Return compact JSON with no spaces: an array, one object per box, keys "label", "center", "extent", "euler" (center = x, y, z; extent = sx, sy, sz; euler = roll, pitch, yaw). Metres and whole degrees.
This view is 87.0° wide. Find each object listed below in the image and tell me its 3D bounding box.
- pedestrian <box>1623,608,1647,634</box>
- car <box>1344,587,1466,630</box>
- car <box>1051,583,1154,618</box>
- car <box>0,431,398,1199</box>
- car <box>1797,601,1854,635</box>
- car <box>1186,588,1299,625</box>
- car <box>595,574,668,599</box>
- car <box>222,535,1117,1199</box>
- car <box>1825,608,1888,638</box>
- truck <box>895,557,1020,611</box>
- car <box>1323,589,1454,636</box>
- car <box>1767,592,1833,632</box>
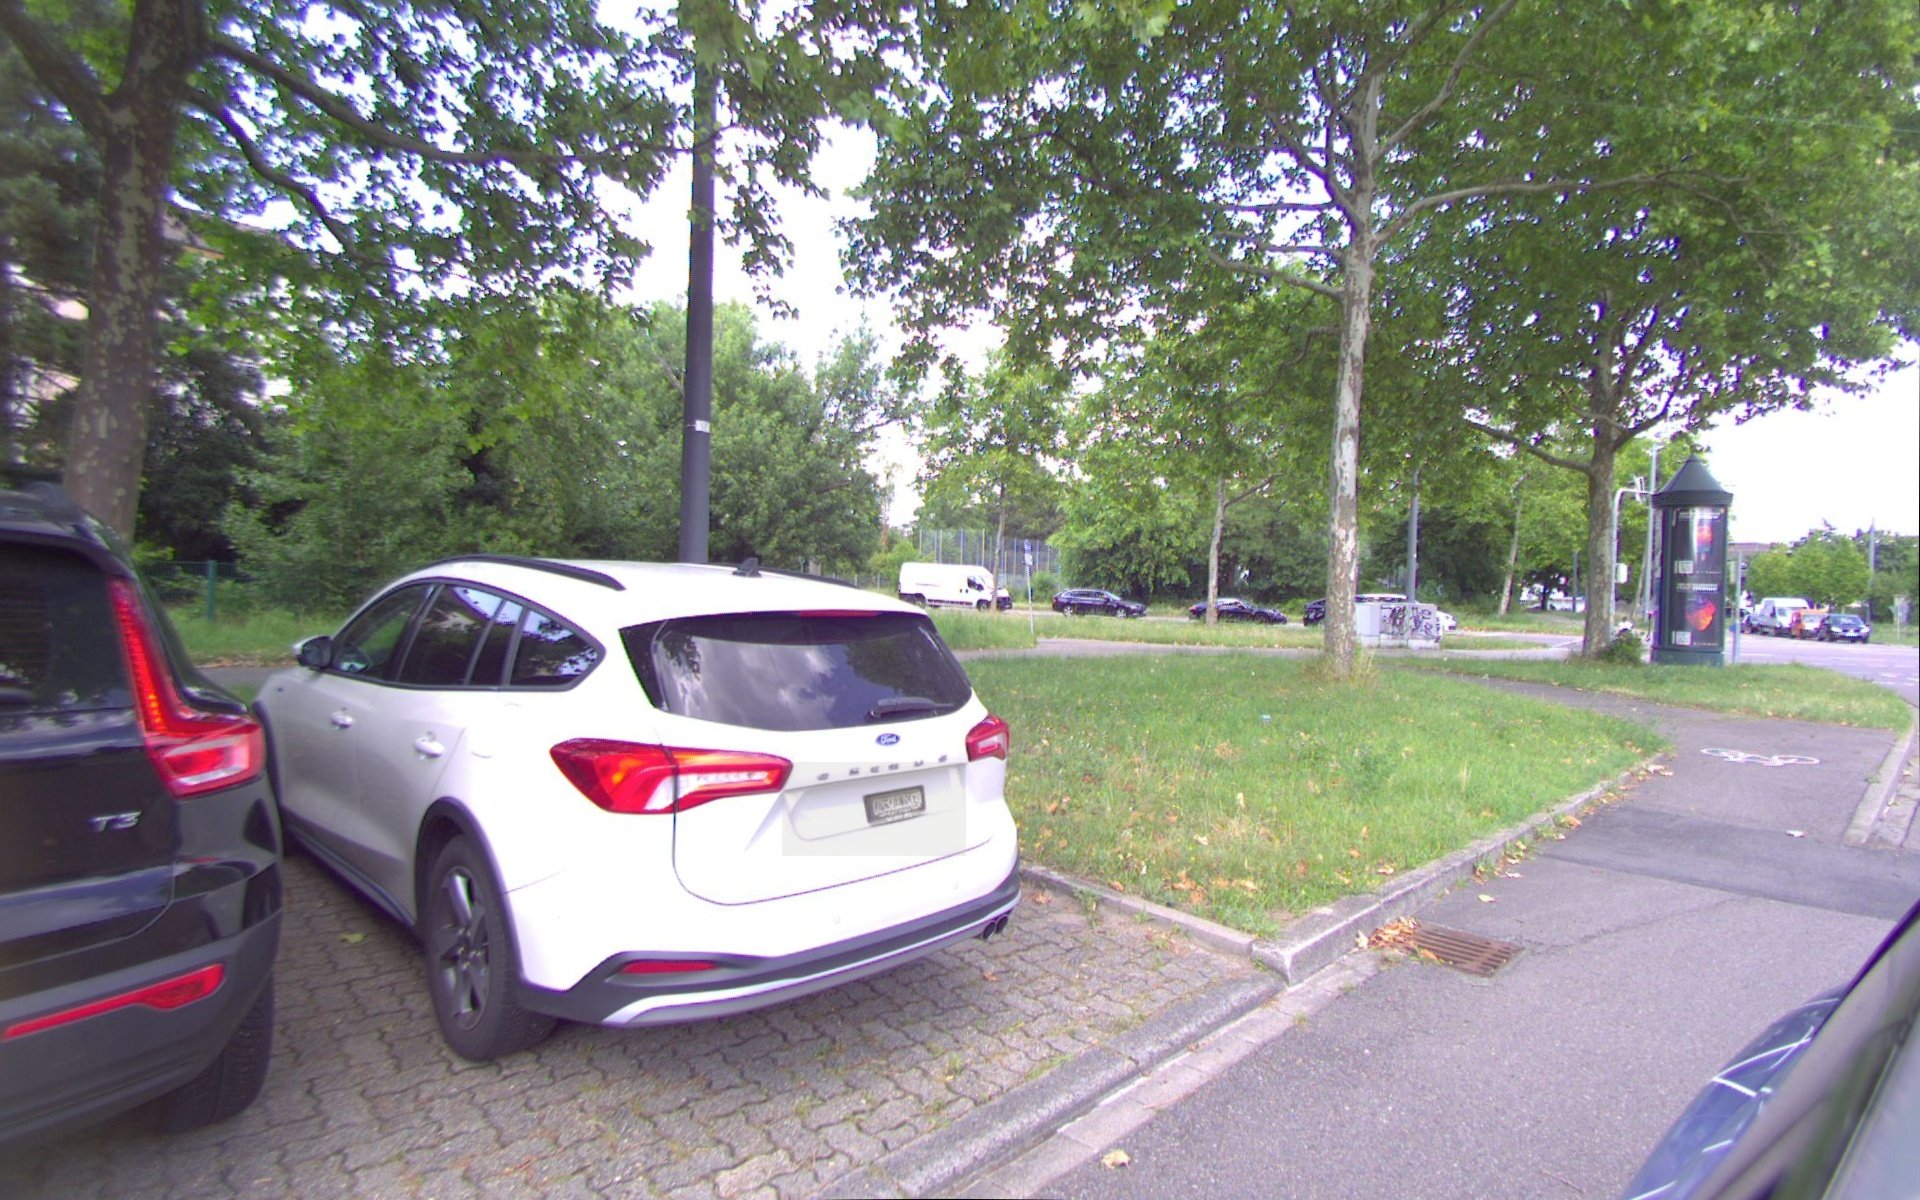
[{"label":"pedestrian","center":[29.320,0.905,43.971],"extent":[0.716,1.047,0.893],"euler":[2,1,28]},{"label":"car","center":[19.141,0.310,43.538],"extent":[4.644,1.630,1.981],"euler":[2,2,28]},{"label":"car","center":[7.032,-0.023,50.014],"extent":[4.644,1.532,1.981],"euler":[2,2,28]},{"label":"car","center":[-3.461,0.426,3.080],"extent":[4.661,1.646,1.818],"euler":[4,2,45]},{"label":"car","center":[53.060,1.079,62.121],"extent":[1.780,1.959,4.325],"euler":[1,1,28]},{"label":"car","center":[12.971,0.253,46.547],"extent":[4.706,1.487,1.981],"euler":[2,2,28]},{"label":"car","center":[-21.943,-0.921,67.643],"extent":[4.644,1.532,1.981],"euler":[2,2,28]},{"label":"car","center":[-1.753,0.516,4.559],"extent":[4.661,1.492,1.818],"euler":[4,2,45]},{"label":"car","center":[50.234,1.262,56.780],"extent":[1.781,1.558,3.959],"euler":[1,1,29]},{"label":"truck","center":[-0.165,-0.886,54.369],"extent":[6.452,2.628,2.194],"euler":[2,1,29]},{"label":"car","center":[17.068,0.434,40.376],"extent":[4.645,1.630,1.980],"euler":[2,2,29]},{"label":"car","center":[56.187,0.759,67.799],"extent":[2.219,2.538,5.670],"euler":[1,1,27]}]
